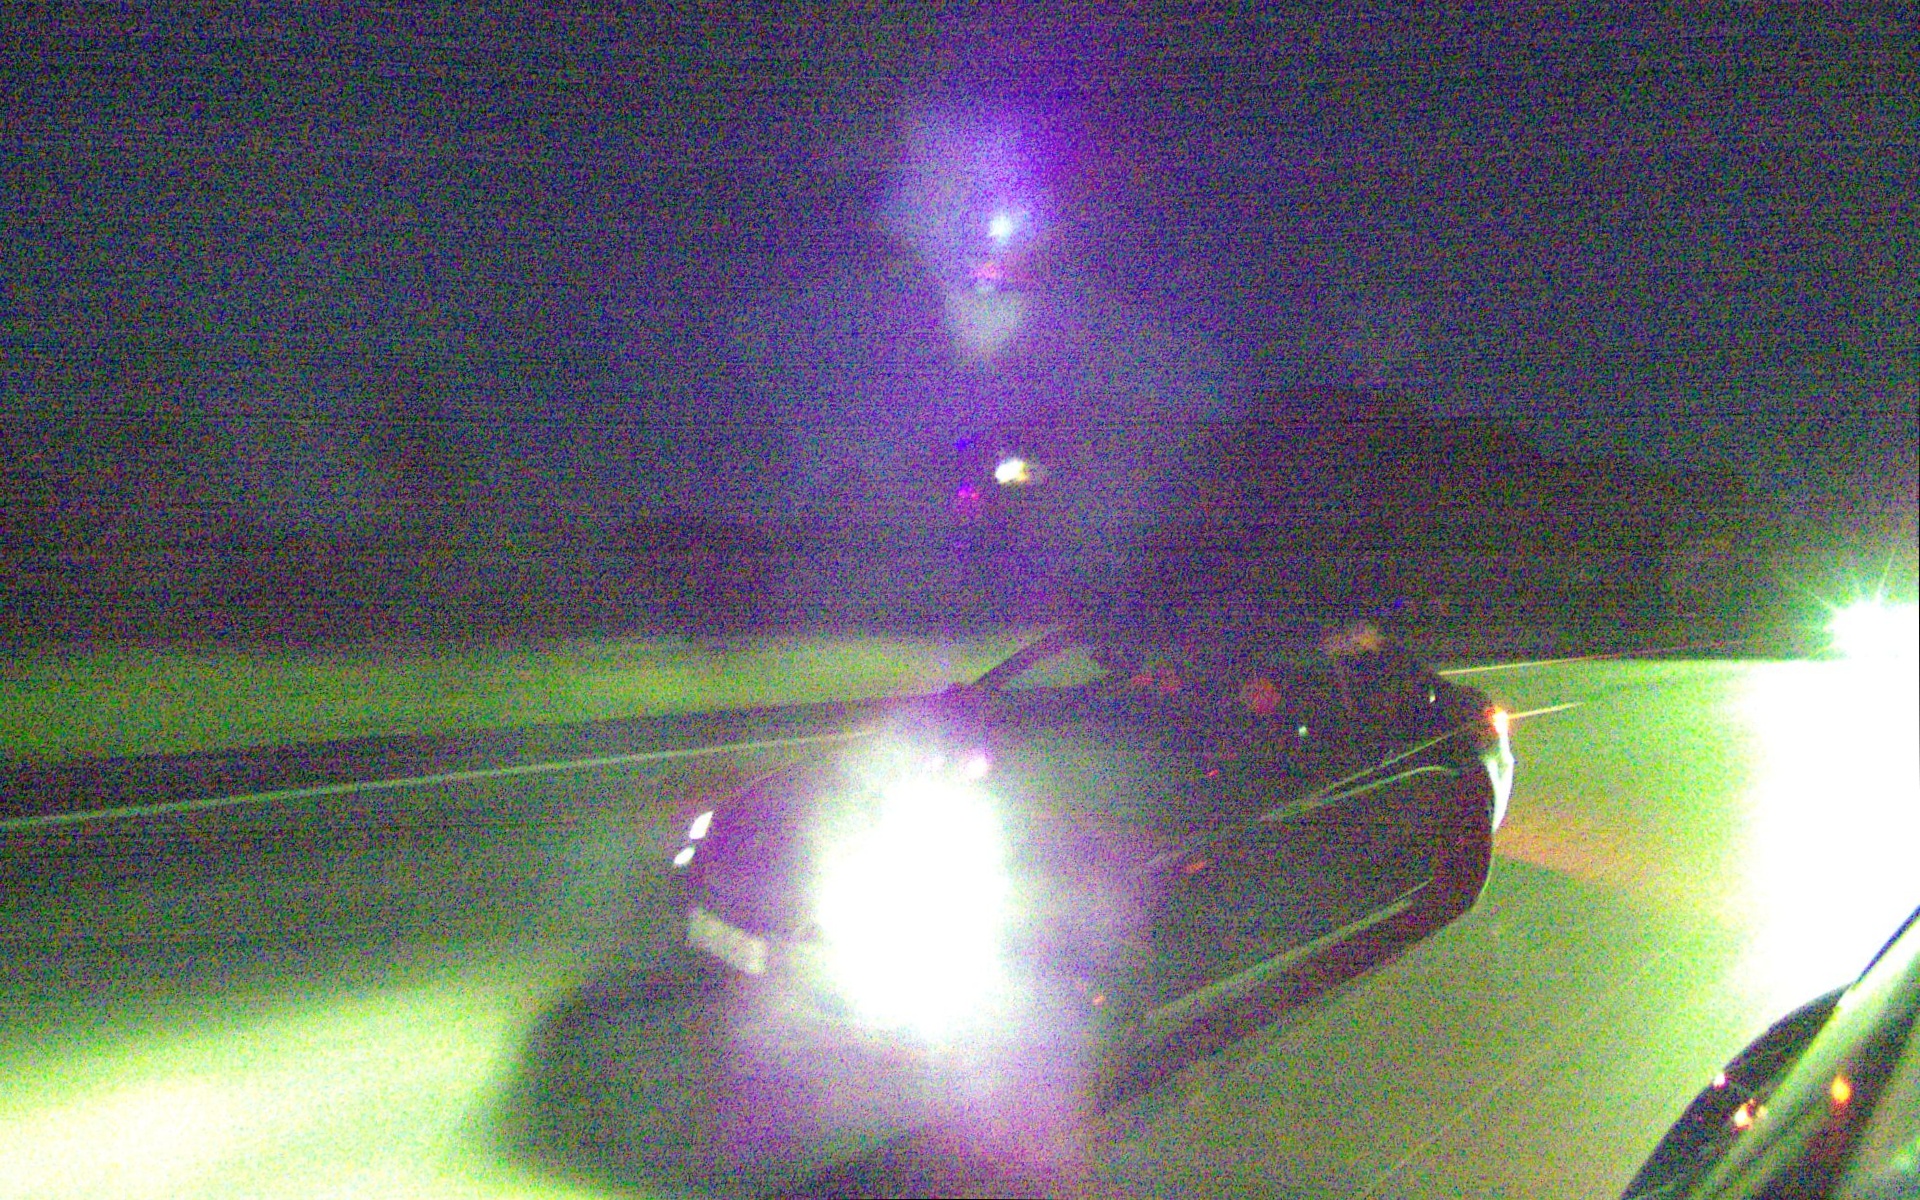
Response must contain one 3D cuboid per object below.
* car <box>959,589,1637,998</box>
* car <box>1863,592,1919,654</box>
[{"bbox_3d":[2.117,0.689,5.630,4.151,1.431,1.689,0,1,-41],"label":"car"},{"bbox_3d":[26.180,0.595,27.578,4.151,1.560,1.794,0,1,-41],"label":"car"}]
